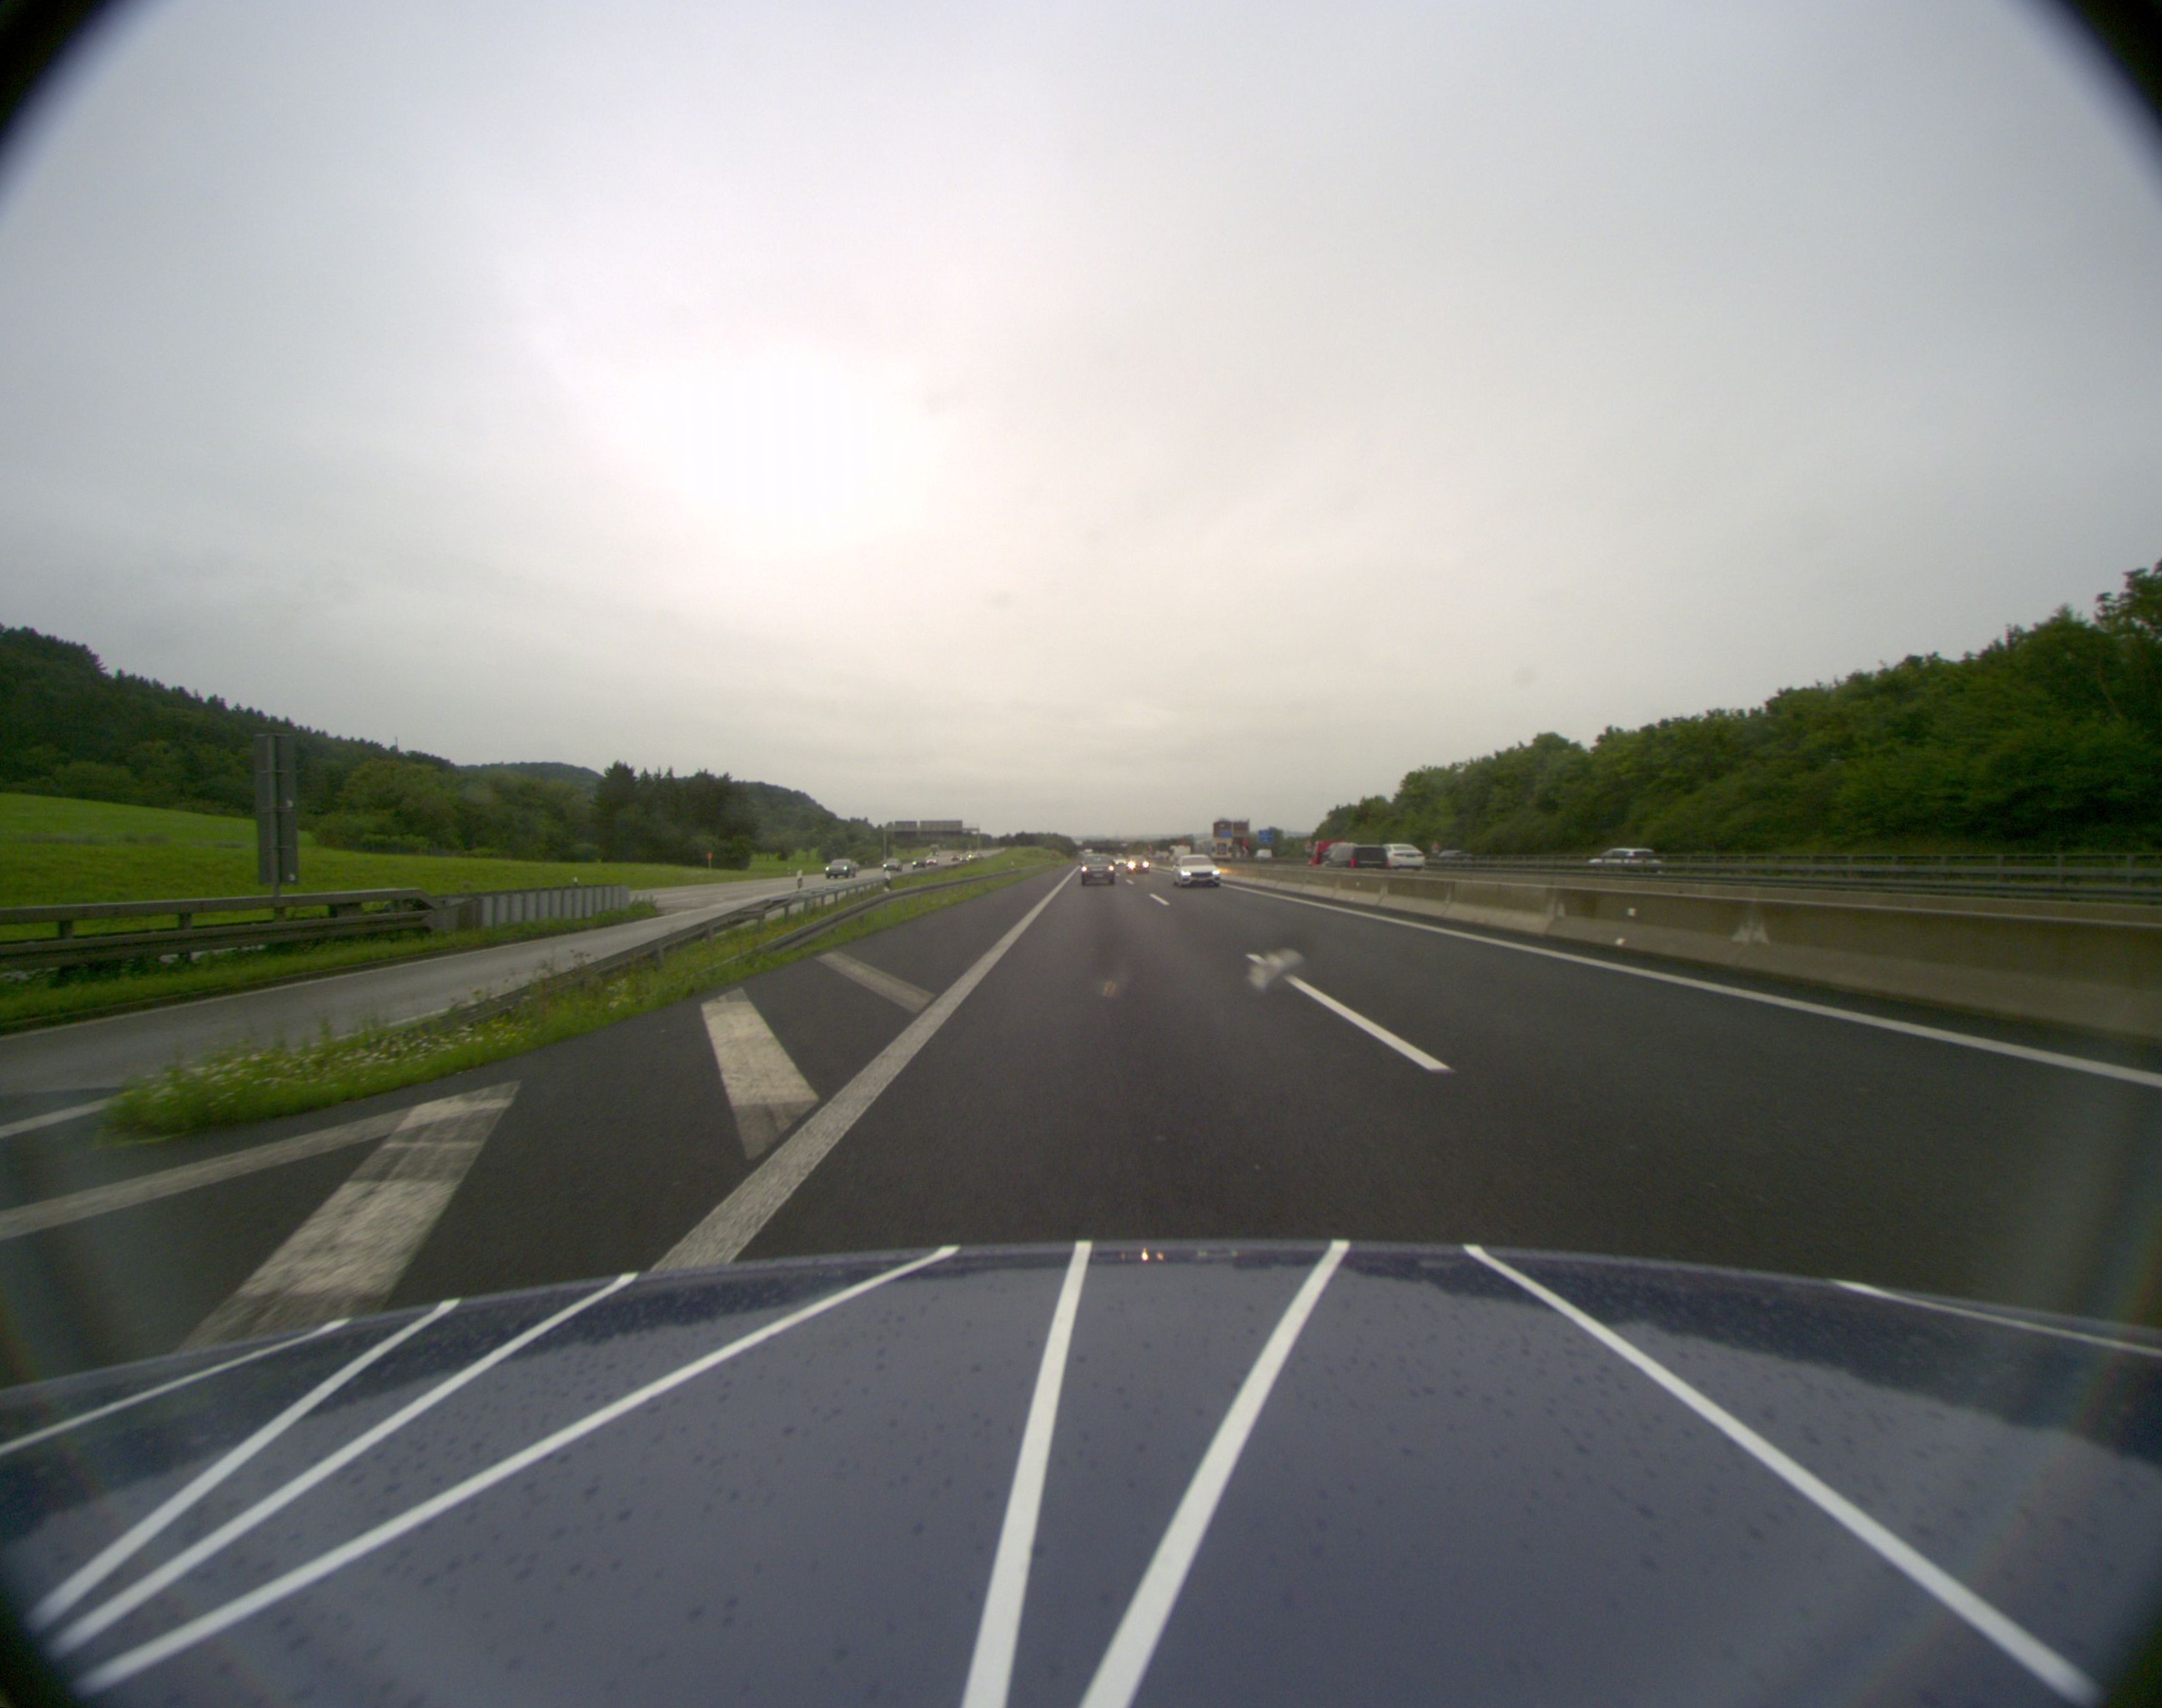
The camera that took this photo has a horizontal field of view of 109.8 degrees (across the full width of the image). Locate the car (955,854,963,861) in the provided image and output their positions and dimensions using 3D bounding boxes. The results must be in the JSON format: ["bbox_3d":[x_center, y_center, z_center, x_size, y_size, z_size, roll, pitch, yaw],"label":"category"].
[{"bbox_3d":[-31.945,0.876,199.360,1.915,1.684,4.715,-2,1,-6],"label":"car"}]

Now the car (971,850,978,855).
[{"bbox_3d":[-34.323,-0.472,245.075,1.915,1.684,4.715,-2,1,-6],"label":"car"}]

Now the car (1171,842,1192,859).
[{"bbox_3d":[14.286,-0.461,108.731,2.135,2.309,5.691,-2,1,-1],"label":"car"}]

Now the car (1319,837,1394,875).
[{"bbox_3d":[13.609,0.064,37.864,1.875,1.672,4.777,-2,1,-1],"label":"car"}]

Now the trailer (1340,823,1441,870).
[{"bbox_3d":[17.478,-0.433,43.548,2.582,2.327,7.946,-2,1,1],"label":"trailer"}]

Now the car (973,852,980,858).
[{"bbox_3d":[-31.656,0.343,230.573,1.915,1.684,4.715,-2,1,-6],"label":"car"}]

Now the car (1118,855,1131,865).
[{"bbox_3d":[6.724,0.908,117.409,1.726,1.481,4.566,-2,1,-1],"label":"car"}]

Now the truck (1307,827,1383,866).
[{"bbox_3d":[17.560,-0.518,51.021,2.582,2.327,7.341,-2,1,1],"label":"truck"}]

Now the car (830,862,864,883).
[{"bbox_3d":[-20.452,1.569,66.612,1.775,1.600,4.641,-2,1,-3],"label":"car"}]

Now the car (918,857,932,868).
[{"bbox_3d":[-23.275,1.253,113.324,1.868,1.349,4.563,-3,1,-9],"label":"car"}]

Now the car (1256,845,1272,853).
[{"bbox_3d":[34.453,-0.955,143.024,1.823,1.448,4.777,-2,1,-1],"label":"car"}]

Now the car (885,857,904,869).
[{"bbox_3d":[-23.050,1.107,94.134,1.672,1.375,4.123,-2,1,-7],"label":"car"}]

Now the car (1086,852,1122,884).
[{"bbox_3d":[1.247,0.749,41.696,1.813,1.571,3.835,-2,1,1],"label":"car"}]

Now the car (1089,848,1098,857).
[{"bbox_3d":[3.049,-0.370,185.519,2.016,1.994,4.566,-2,1,-1],"label":"car"}]

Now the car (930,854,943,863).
[{"bbox_3d":[-27.905,0.854,146.608,1.915,1.684,4.716,-2,1,-5],"label":"car"}]

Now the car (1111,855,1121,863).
[{"bbox_3d":[6.946,0.931,151.693,1.726,1.481,4.566,-2,1,-1],"label":"car"}]

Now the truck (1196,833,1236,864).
[{"bbox_3d":[19.074,-0.819,108.423,2.934,3.855,16.088,-2,1,1],"label":"truck"}]

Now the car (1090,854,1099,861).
[{"bbox_3d":[3.151,0.890,179.414,1.919,1.481,4.566,-2,1,-1],"label":"car"}]

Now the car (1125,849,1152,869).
[{"bbox_3d":[4.754,0.405,63.288,1.726,1.481,4.566,-2,1,-1],"label":"car"}]

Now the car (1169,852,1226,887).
[{"bbox_3d":[5.381,0.680,35.696,1.823,1.448,4.777,-2,1,-1],"label":"car"}]

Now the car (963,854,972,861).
[{"bbox_3d":[-27.157,0.862,182.443,1.915,1.684,4.715,-2,1,-6],"label":"car"}]

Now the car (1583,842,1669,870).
[{"bbox_3d":[32.886,0.078,46.031,1.662,1.572,4.777,-2,1,-1],"label":"car"}]
